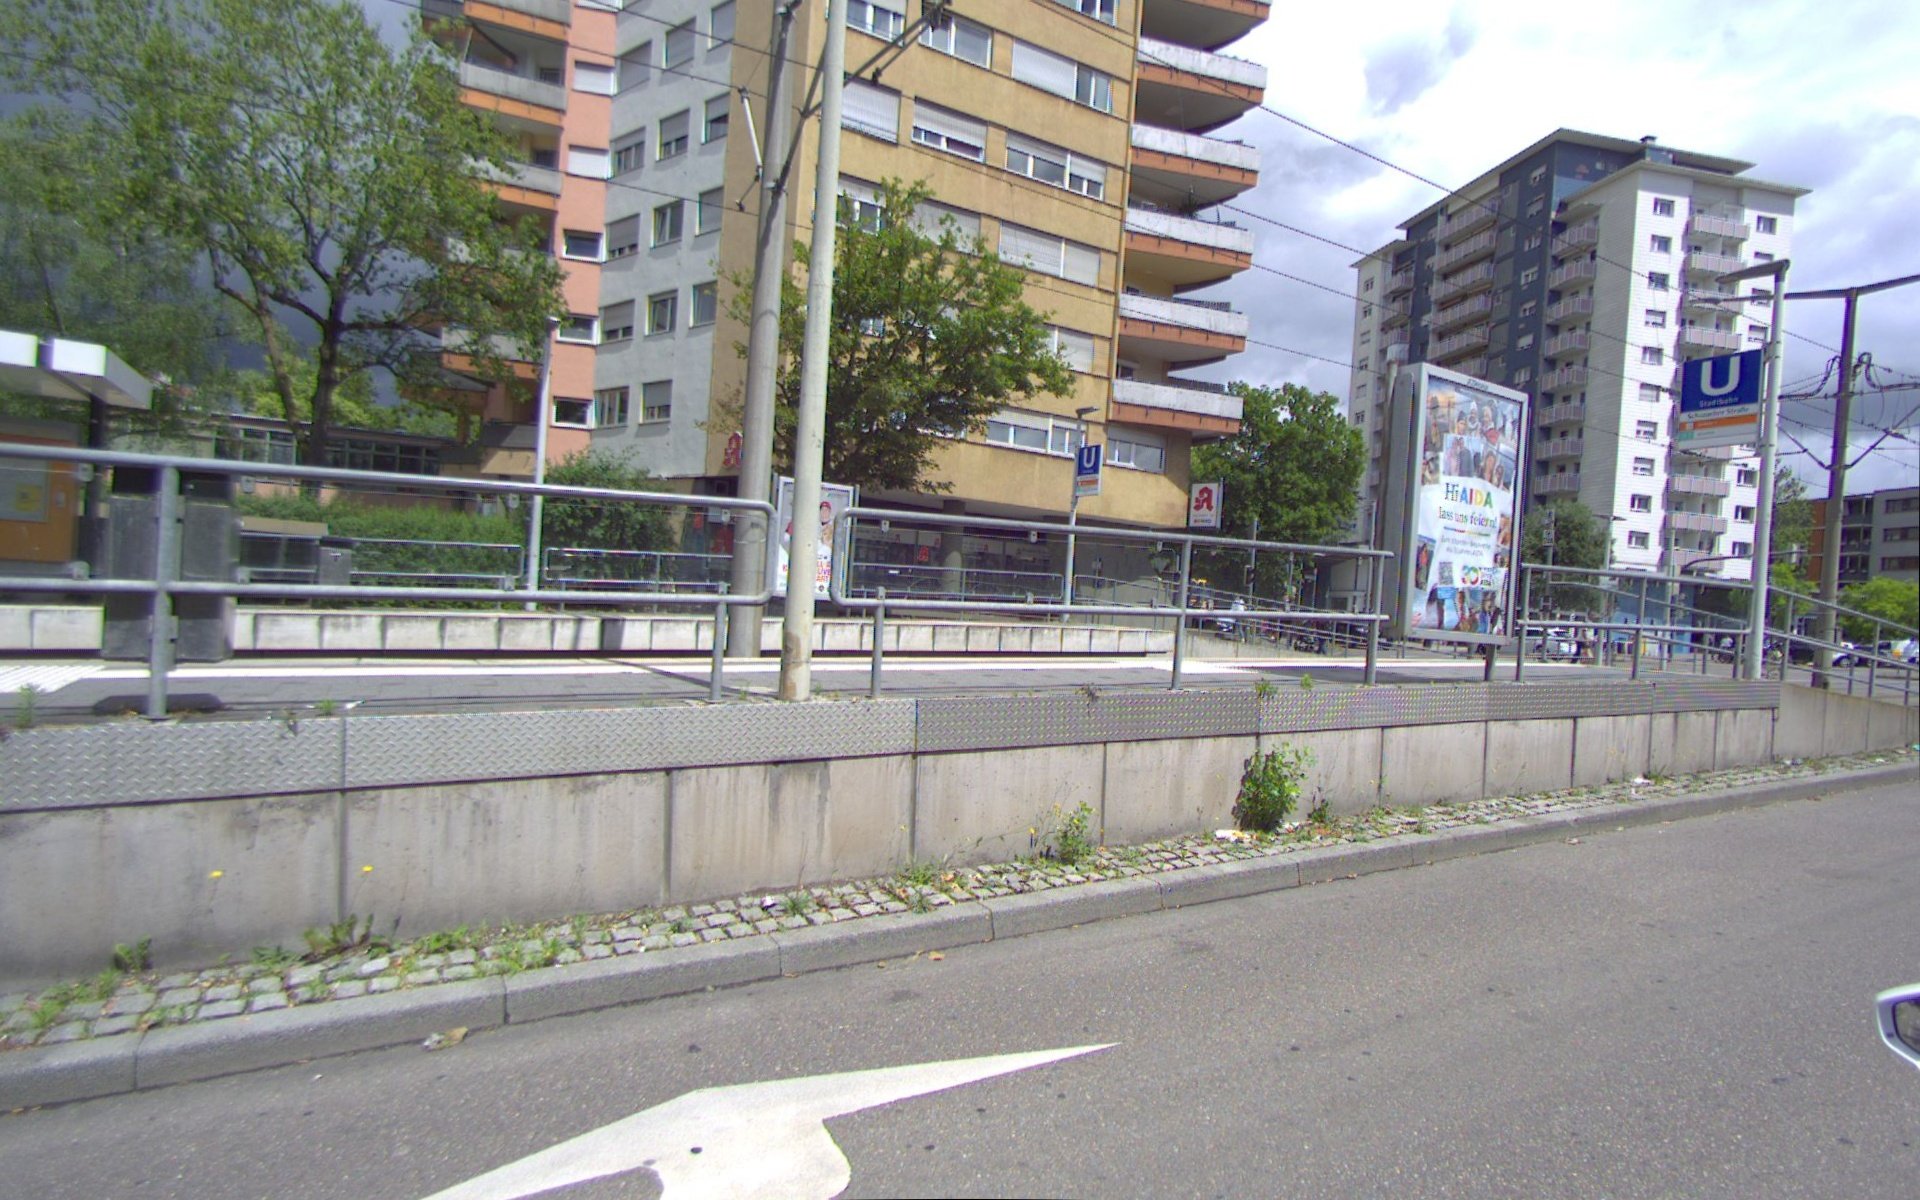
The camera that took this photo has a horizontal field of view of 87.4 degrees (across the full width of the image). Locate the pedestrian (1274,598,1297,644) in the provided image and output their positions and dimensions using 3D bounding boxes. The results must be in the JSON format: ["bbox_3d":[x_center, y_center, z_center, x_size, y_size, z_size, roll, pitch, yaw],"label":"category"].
[{"bbox_3d":[11.480,0.731,35.371,0.612,1.599,0.859,2,0,26],"label":"pedestrian"}]

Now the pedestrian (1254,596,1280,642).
[{"bbox_3d":[11.180,0.689,36.591,0.759,1.604,0.610,2,0,6],"label":"pedestrian"}]

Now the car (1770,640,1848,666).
[{"bbox_3d":[54.401,3.362,64.394,1.602,1.482,3.576,2,-1,-37],"label":"car"}]

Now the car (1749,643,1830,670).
[{"bbox_3d":[50.952,3.445,61.726,1.602,1.482,3.576,2,-1,-37],"label":"car"}]

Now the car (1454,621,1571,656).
[{"bbox_3d":[26.685,1.832,48.649,1.980,1.500,4.608,2,-1,-35],"label":"car"}]

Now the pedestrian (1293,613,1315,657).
[{"bbox_3d":[10.963,1.106,32.001,0.543,1.360,0.669,2,0,12],"label":"pedestrian"}]

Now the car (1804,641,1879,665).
[{"bbox_3d":[60.058,3.584,68.458,1.602,1.482,3.576,2,-1,-37],"label":"car"}]

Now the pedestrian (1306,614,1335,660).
[{"bbox_3d":[11.080,1.125,30.895,0.677,1.360,0.859,2,0,30],"label":"pedestrian"}]

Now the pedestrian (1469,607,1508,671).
[{"bbox_3d":[13.875,1.021,26.387,0.632,1.654,0.696,2,-1,-35],"label":"pedestrian"}]

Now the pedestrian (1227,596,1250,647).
[{"bbox_3d":[9.583,0.737,34.555,0.668,1.729,0.827,2,0,12],"label":"pedestrian"}]

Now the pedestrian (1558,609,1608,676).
[{"bbox_3d":[16.502,1.126,26.609,0.845,1.719,0.688,2,0,-10],"label":"pedestrian"}]
